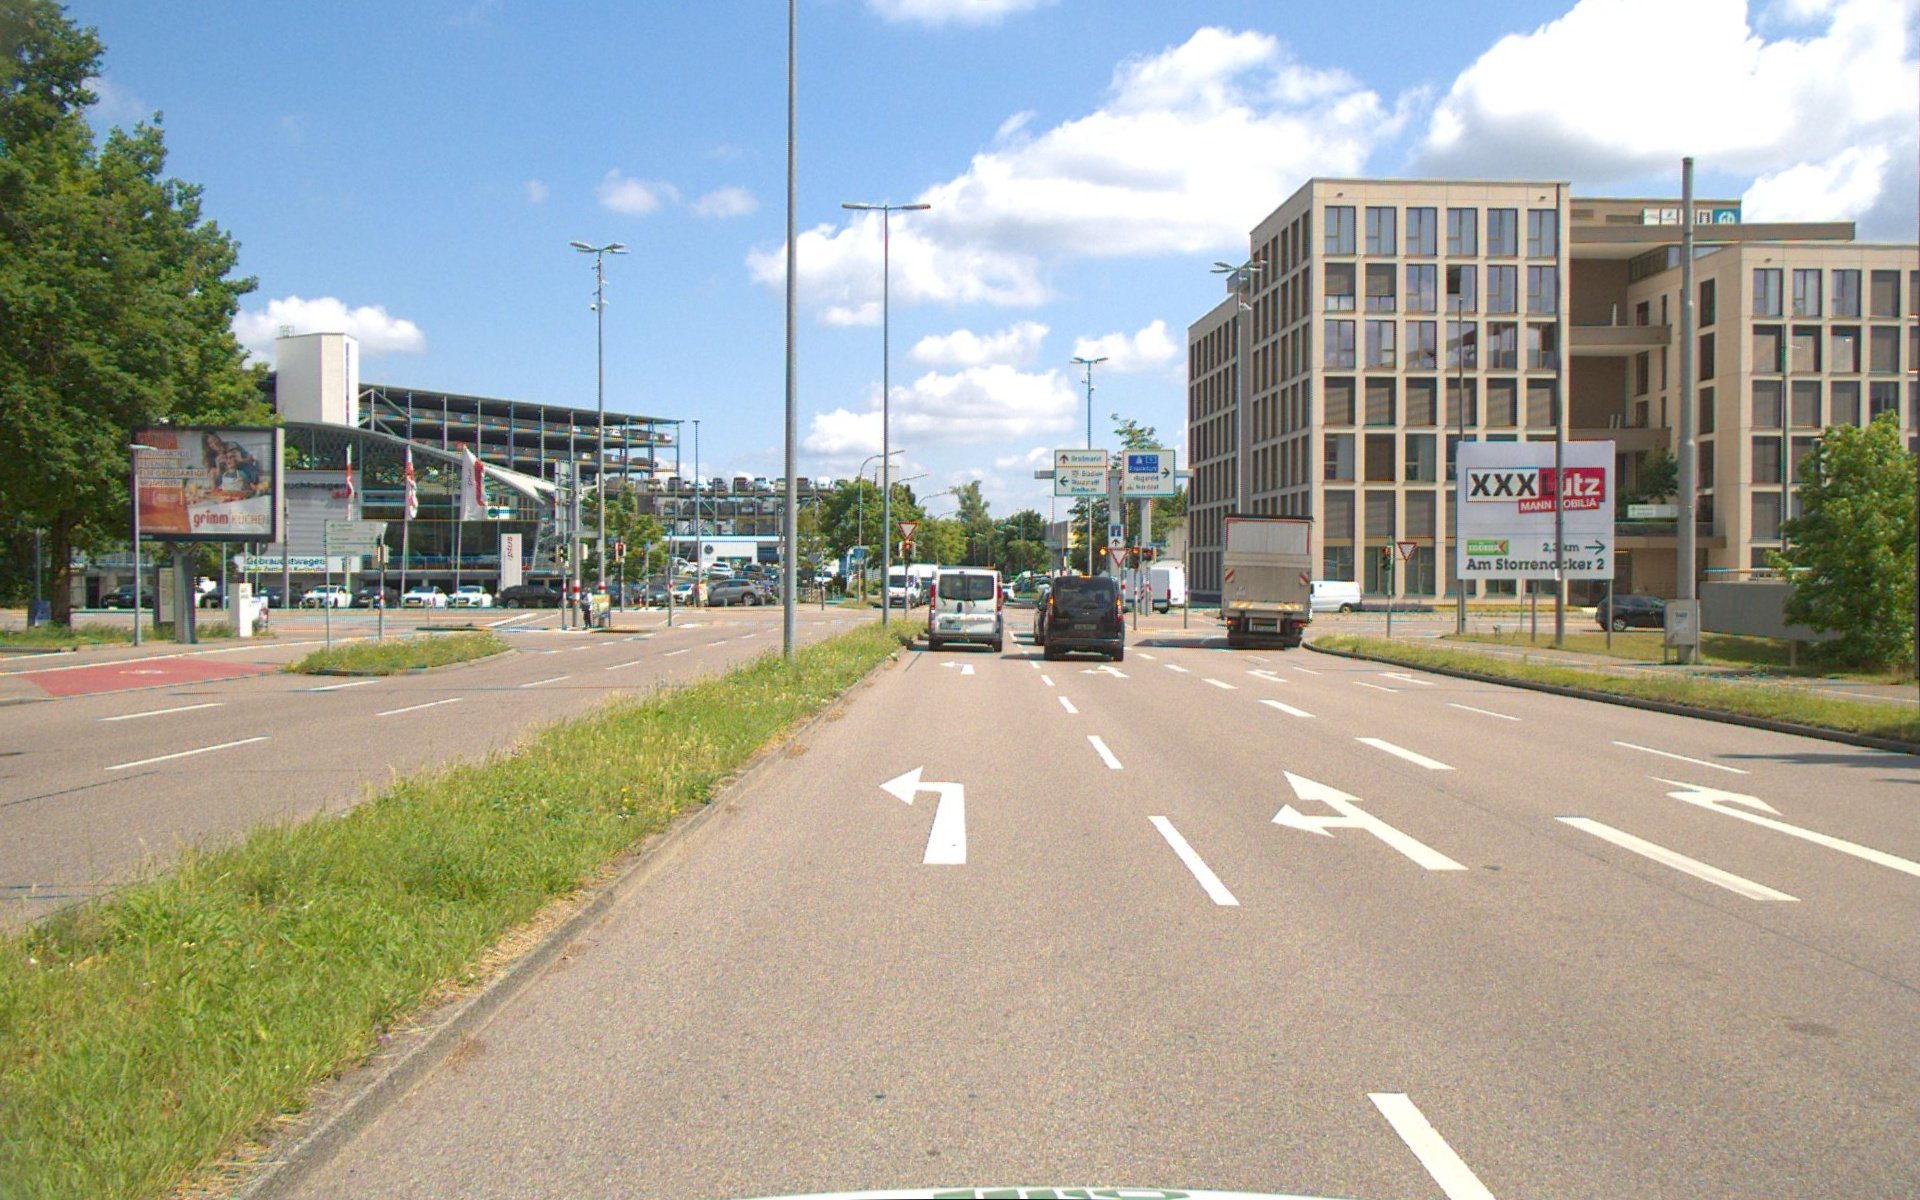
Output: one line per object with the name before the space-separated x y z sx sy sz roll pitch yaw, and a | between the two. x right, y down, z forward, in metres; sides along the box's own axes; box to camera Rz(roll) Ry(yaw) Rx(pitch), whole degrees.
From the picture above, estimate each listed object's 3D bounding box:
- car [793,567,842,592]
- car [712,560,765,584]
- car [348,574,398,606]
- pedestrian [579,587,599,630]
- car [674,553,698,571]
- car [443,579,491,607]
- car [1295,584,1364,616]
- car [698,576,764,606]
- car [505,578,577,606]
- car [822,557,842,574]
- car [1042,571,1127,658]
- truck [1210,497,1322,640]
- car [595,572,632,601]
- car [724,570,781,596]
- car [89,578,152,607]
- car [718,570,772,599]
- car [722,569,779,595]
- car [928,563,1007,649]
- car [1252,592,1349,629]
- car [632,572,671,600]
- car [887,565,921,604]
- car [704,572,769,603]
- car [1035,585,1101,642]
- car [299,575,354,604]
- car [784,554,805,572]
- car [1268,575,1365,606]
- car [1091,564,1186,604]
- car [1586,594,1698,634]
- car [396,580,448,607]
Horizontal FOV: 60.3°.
car | -11.329 -1.640 131.464 3.910 1.959 1.824 0 0 -6
car | -17.462 -2.230 130.621 4.084 1.742 1.687 1 1 -6
car | -33.171 -0.581 93.480 1.722 1.689 3.615 0 1 -4
pedestrian | -13.603 0.307 60.647 0.460 1.538 0.511 1 0 25
car | -25.431 -3.538 153.559 1.809 1.556 3.997 0 1 -4
car | -28.000 -0.423 94.100 1.740 1.475 4.027 0 1 -3
car | 19.103 -0.027 85.517 3.207 1.428 1.335 0 10 -2
car | -13.803 -0.553 99.841 3.785 1.668 1.857 -2 1 -3
car | -23.770 -0.452 93.834 3.718 1.539 1.678 0 1 -5
car | -11.769 -3.188 152.539 1.809 1.556 3.997 0 1 -4
car | 2.794 0.291 37.591 1.782 1.840 4.002 1 1 3
truck | 9.507 -0.910 51.060 3.063 4.009 8.865 1 0 11
car | -19.789 -0.787 94.326 1.788 1.579 3.982 0 1 -16
car | -14.468 -1.198 115.499 3.835 1.742 1.688 -2 1 -3
car | -46.263 -0.410 91.172 1.801 1.513 3.698 0 1 -4
car | -14.242 -1.036 109.718 3.438 1.742 1.602 -2 1 -3
car | -14.889 -1.288 117.749 3.835 1.742 1.688 -2 1 -3
car | 0.234 0.126 41.518 1.817 2.053 4.001 1 0 2
car | 14.517 0.440 70.653 3.772 1.492 1.696 0 1 0
car | -17.724 -0.793 94.904 1.788 1.579 3.982 0 1 -16
car | -3.451 -0.997 102.718 1.931 2.295 4.980 -2 2 -1
car | -13.808 -0.785 102.466 3.835 1.742 1.688 -2 1 -3
car | 3.054 0.356 47.292 1.704 1.521 4.001 1 0 1
car | -35.714 -0.604 93.285 1.841 1.512 3.699 0 1 -3
car | -15.180 -3.410 152.124 1.809 1.556 3.997 0 1 -4
car | 19.525 -0.529 90.702 4.882 1.635 1.999 0 1 -2
car | 10.693 -0.974 99.216 5.404 2.294 1.993 1 2 36
car | 28.414 0.569 69.017 4.056 1.529 1.628 -1 1 11
car | -30.477 -0.378 93.808 1.869 1.400 3.750 0 1 -3
